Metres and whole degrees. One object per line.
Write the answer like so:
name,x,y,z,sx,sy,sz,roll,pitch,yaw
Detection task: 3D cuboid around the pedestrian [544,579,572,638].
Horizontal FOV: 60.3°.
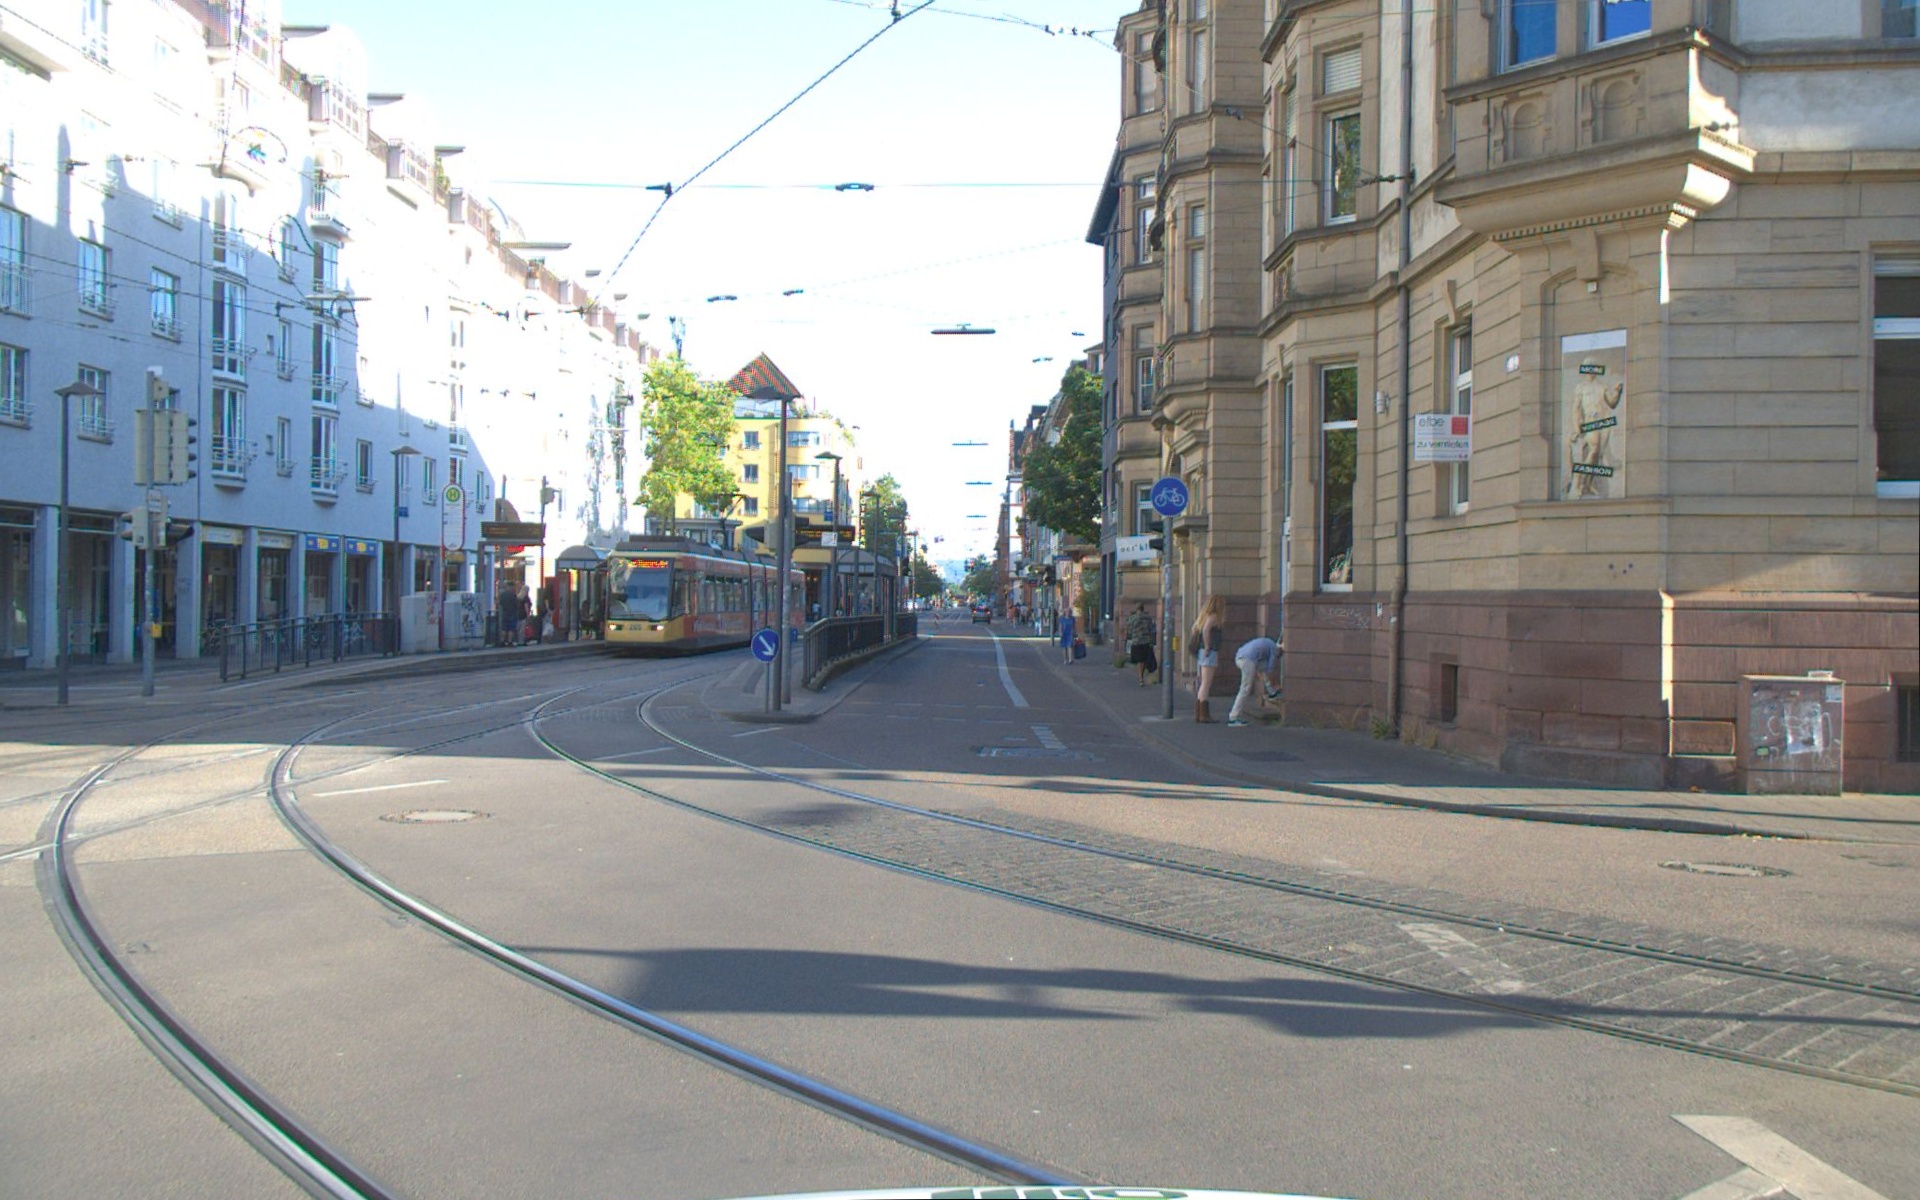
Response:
pedestrian,-12.117,0.262,49.856,0.686,1.721,0.667,3,-3,-23

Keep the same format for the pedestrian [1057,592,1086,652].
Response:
pedestrian,3.166,0.618,46.948,0.747,1.674,0.832,0,-1,0

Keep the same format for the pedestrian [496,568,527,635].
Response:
pedestrian,-11.876,0.043,43.830,0.586,1.721,0.613,2,-2,0

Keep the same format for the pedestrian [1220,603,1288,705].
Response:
pedestrian,3.963,0.737,22.349,0.778,1.355,0.719,0,-3,-2

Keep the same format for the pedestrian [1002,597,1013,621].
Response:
pedestrian,4.005,0.777,139.560,0.826,1.951,0.661,2,-2,-1

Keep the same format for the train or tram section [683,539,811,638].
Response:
train or tram section,-8.440,-0.266,67.734,2.825,3.551,14.952,1,-1,2

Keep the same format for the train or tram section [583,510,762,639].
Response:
train or tram section,-8.870,-0.554,53.227,2.825,3.551,14.169,1,-1,2

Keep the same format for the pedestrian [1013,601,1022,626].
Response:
pedestrian,4.185,1.002,120.783,0.548,1.828,0.651,1,-2,7

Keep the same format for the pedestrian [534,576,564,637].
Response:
pedestrian,-11.958,0.203,48.088,0.686,1.721,0.667,3,-3,-23

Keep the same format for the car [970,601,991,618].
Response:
car,1.974,0.909,160.559,1.953,1.475,3.999,2,-2,0

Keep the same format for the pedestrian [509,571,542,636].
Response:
pedestrian,-12.041,0.110,45.825,0.752,1.763,0.517,0,-3,42

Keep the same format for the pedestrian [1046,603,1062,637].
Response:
pedestrian,4.677,0.999,82.257,0.699,1.631,0.772,-1,-1,-3

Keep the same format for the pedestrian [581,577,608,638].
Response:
pedestrian,-11.865,0.259,53.744,0.681,1.938,0.672,2,-2,-2

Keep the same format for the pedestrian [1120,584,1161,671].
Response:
pedestrian,3.909,0.597,35.831,0.784,1.856,0.797,0,-1,0

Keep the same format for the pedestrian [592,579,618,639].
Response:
pedestrian,-11.662,0.294,54.345,0.681,1.938,0.672,2,-2,-2

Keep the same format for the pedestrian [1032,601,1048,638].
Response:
pedestrian,3.964,0.956,81.972,0.699,1.806,0.772,-1,-1,-3

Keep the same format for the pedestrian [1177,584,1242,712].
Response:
pedestrian,3.475,0.678,23.111,0.778,1.752,0.719,0,-3,-2
